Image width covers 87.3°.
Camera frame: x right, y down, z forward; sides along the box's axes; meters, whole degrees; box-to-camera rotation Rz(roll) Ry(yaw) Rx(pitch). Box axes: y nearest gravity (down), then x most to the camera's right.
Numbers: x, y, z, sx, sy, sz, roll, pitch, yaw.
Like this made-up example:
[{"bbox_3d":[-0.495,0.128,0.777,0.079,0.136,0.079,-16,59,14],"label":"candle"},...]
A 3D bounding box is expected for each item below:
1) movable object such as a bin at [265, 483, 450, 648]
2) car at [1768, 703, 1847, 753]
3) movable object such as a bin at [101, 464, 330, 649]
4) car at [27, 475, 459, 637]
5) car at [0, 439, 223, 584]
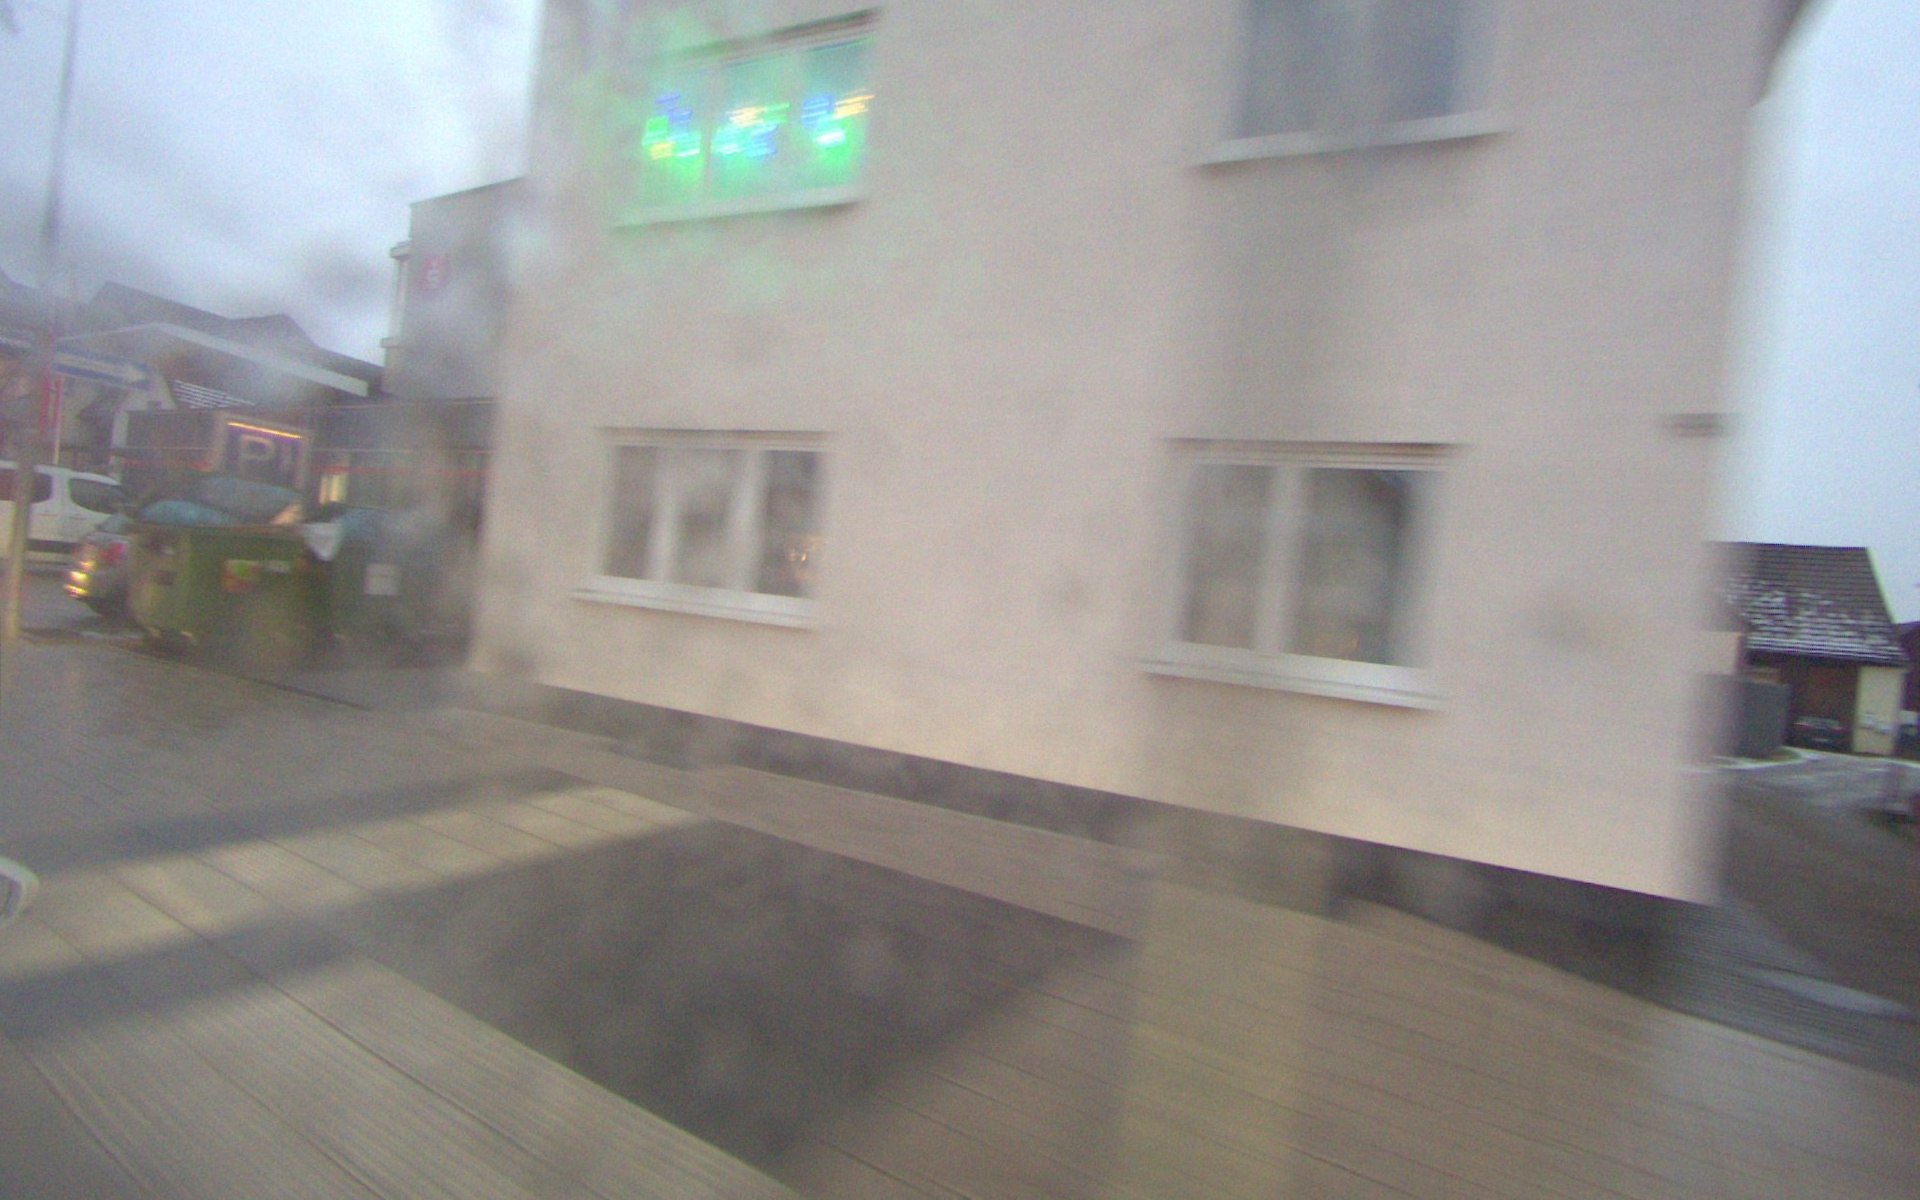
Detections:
[{"bbox_3d":[-6.778,-0.366,11.348,1.165,1.666,1.286,7,2,29],"label":"movable object such as a bin"},{"bbox_3d":[33.474,5.025,39.827,1.739,1.647,3.994,5,-3,32],"label":"car"},{"bbox_3d":[-7.515,-0.412,10.199,1.240,1.665,1.394,7,2,29],"label":"movable object such as a bin"},{"bbox_3d":[-8.849,-0.471,12.750,1.882,1.504,3.989,6,-1,34],"label":"car"},{"bbox_3d":[-15.367,-1.536,17.150,1.971,2.076,4.085,7,1,40],"label":"car"}]
